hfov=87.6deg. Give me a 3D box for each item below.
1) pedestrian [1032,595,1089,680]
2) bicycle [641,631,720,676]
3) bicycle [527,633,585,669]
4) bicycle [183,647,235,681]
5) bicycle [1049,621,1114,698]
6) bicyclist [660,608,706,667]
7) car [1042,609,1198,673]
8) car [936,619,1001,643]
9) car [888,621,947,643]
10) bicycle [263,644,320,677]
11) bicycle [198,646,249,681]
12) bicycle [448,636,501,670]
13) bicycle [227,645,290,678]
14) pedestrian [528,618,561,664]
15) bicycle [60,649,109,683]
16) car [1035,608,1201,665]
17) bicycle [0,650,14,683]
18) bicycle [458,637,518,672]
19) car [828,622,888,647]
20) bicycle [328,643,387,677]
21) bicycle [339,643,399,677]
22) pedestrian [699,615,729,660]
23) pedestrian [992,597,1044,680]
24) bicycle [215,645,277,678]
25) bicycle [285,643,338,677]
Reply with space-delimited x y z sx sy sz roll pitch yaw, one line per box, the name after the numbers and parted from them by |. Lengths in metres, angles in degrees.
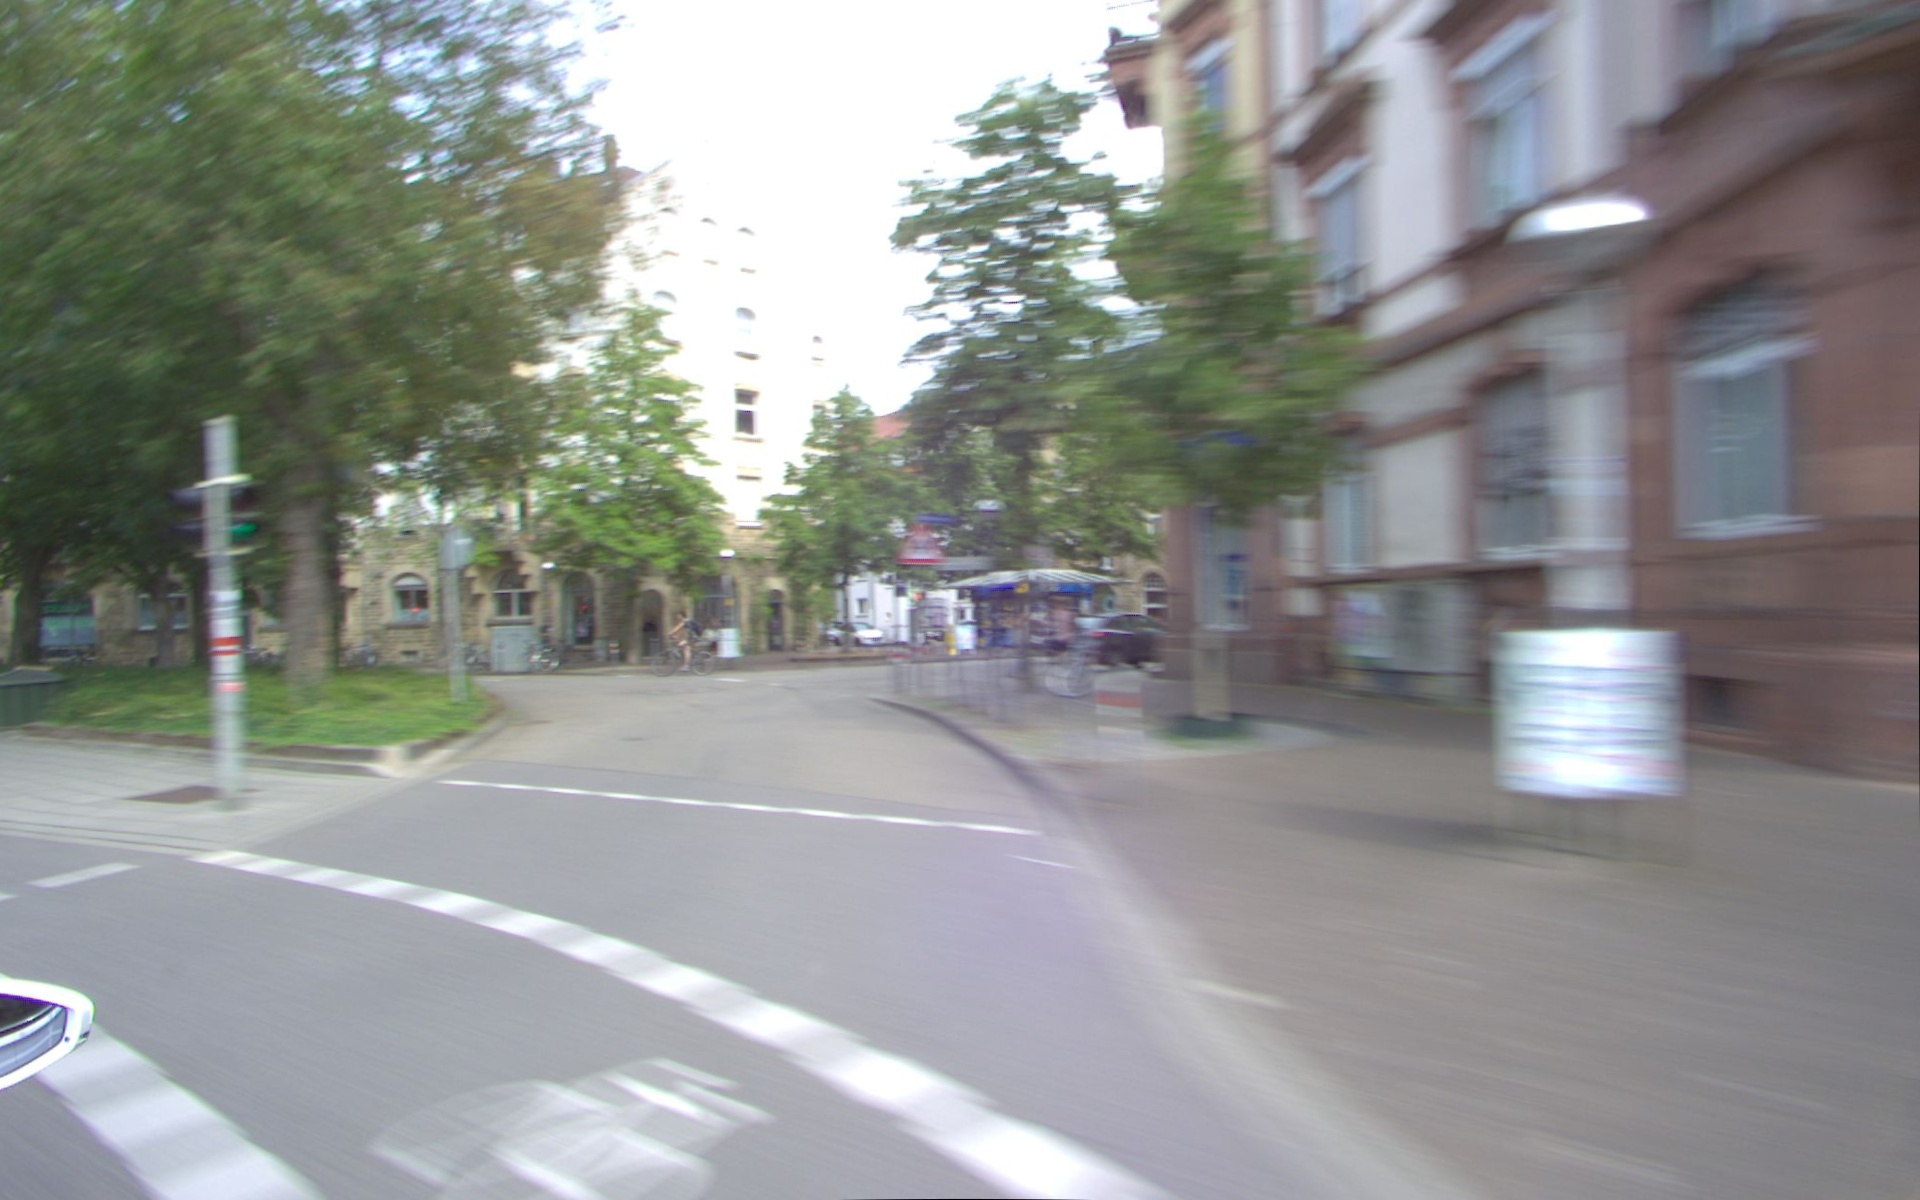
2.157 0.797 21.496 0.882 1.752 0.751 -3 1 -38 | pedestrian
-7.924 1.501 28.411 2.069 1.167 0.652 -1 0 -25 | bicycle
-13.672 1.706 33.960 0.525 1.142 1.885 -2 -1 29 | bicycle
-27.862 2.359 37.191 0.522 1.143 1.893 -2 0 -2 | bicycle
1.986 0.933 16.197 0.661 1.159 1.668 -1 0 19 | bicycle
-7.867 1.059 28.441 1.121 1.627 0.644 -2 0 -25 | bicyclist
4.137 1.010 25.536 3.956 1.460 1.803 -1 -1 -41 | car
0.510 2.007 64.616 1.753 1.413 4.319 -1 -1 -40 | car
-2.952 2.232 68.726 1.753 1.413 4.319 -1 -1 -40 | car
-24.741 2.226 37.090 0.571 1.142 1.893 -2 -1 11 | bicycle
-27.321 2.337 37.190 0.522 1.143 1.893 -2 1 -2 | bicycle
-17.218 1.867 35.565 0.523 1.142 1.891 -2 -1 17 | bicycle
-25.941 2.257 37.065 0.588 1.142 1.890 -2 -1 20 | bicycle
-15.525 1.537 37.440 0.821 1.698 0.731 -2 0 22 | pedestrian
-31.847 2.400 36.450 0.656 1.142 1.890 -1 -1 -19 | bicycle
4.550 1.045 29.092 4.395 1.460 1.756 -1 -1 -11 | car
-34.589 2.387 35.696 0.523 1.142 1.890 -1 -1 -19 | bicycle
-16.489 1.897 35.037 0.525 1.142 1.883 -2 -1 34 | bicycle
-6.239 2.094 61.002 1.753 1.413 3.967 -1 -1 -40 | car
-22.081 2.182 36.722 0.524 1.142 1.888 -2 -1 24 | bicycle
-21.537 2.170 36.518 0.524 1.142 1.888 -2 -1 24 | bicycle
-9.239 1.404 37.572 0.826 1.644 0.726 -1 0 -42 | pedestrian
1.260 0.828 21.952 0.722 1.752 0.889 -3 1 -29 | pedestrian
-26.514 2.277 37.217 0.553 1.142 1.890 -2 -1 20 | bicycle
-23.943 2.203 36.998 0.583 1.142 1.894 -2 -1 6 | bicycle
